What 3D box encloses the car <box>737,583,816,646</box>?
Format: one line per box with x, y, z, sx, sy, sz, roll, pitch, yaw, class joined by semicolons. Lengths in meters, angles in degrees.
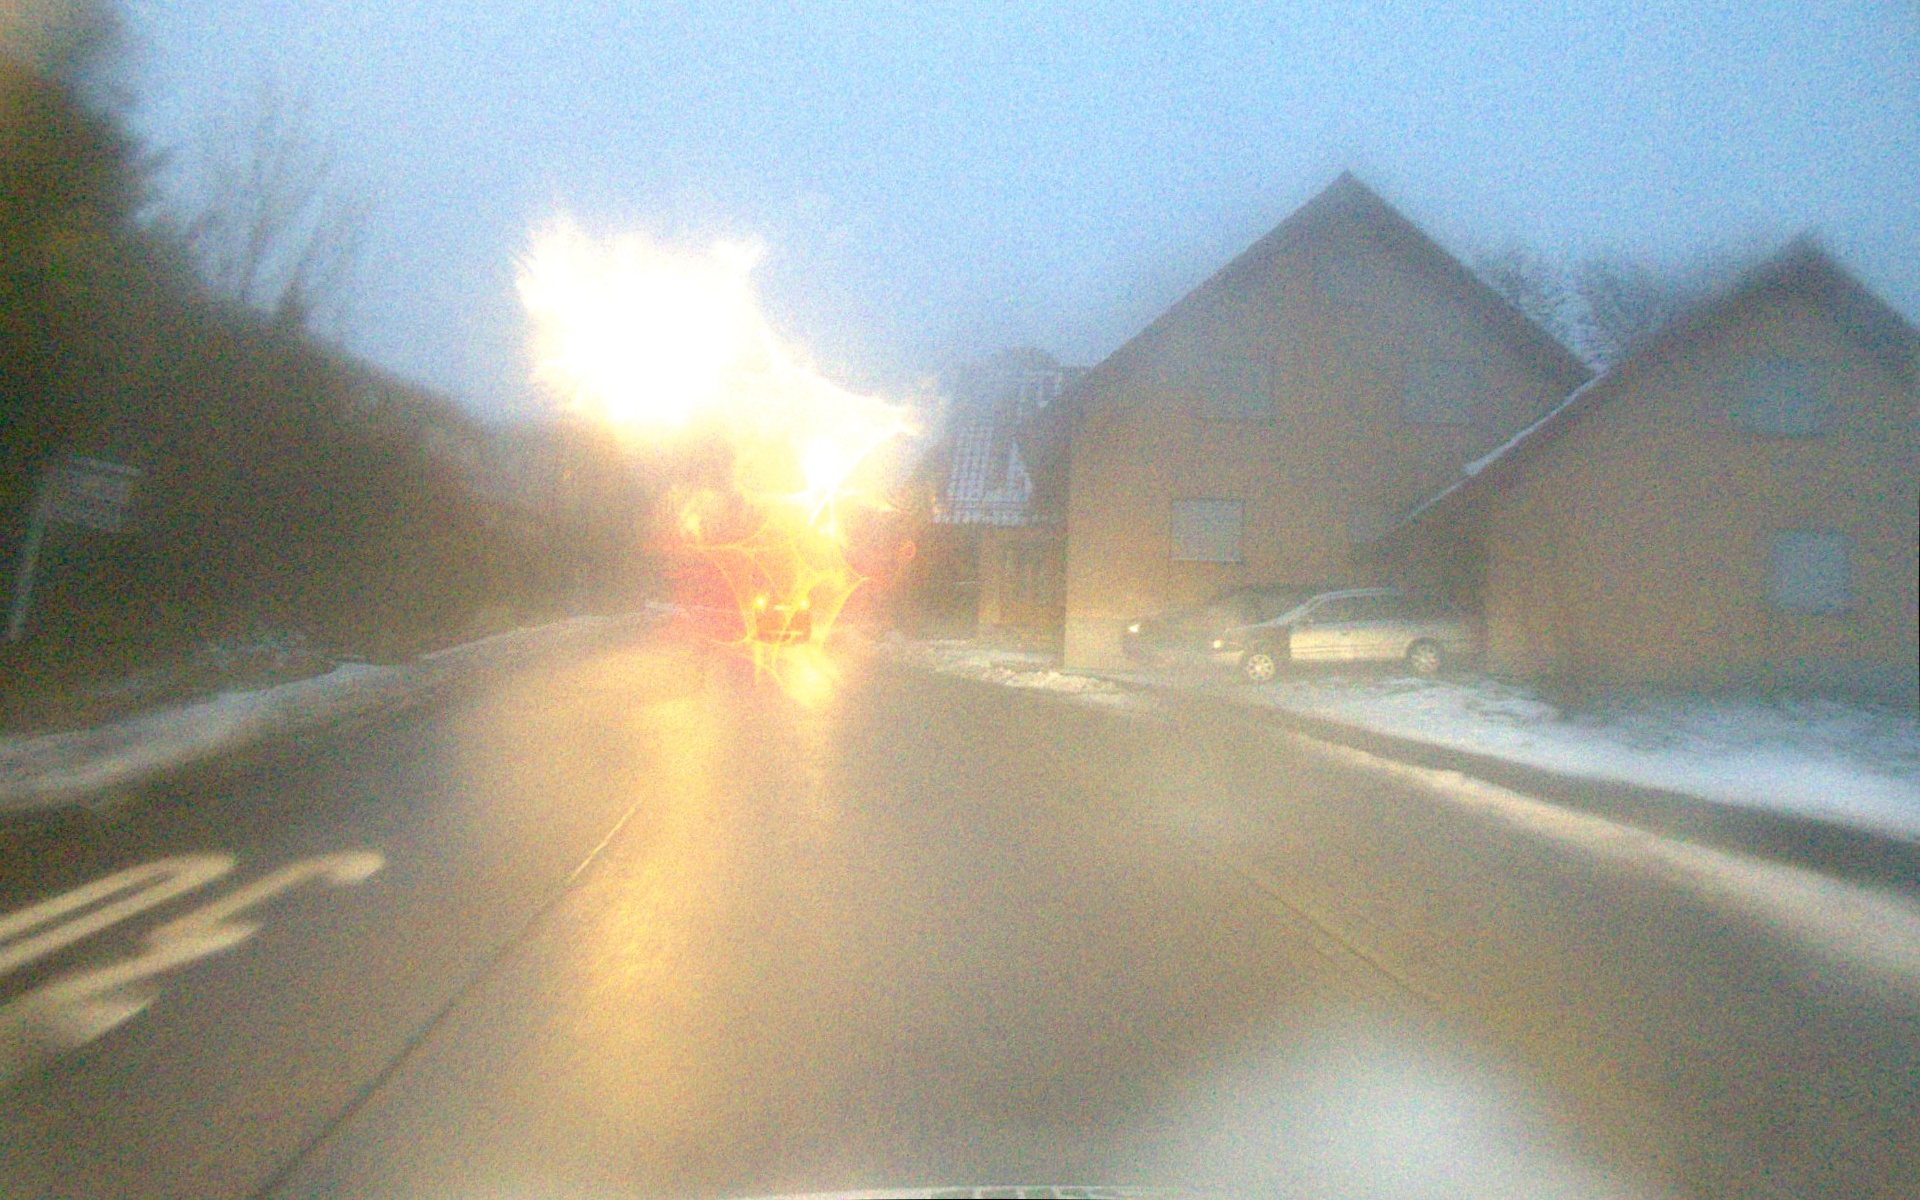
-5.660;0.471;50.637;1.959;1.767;3.865;0;-3;-13;car

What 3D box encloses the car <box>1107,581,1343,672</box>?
4.801;0.518;30.484;4.072;1.587;1.946;0;-3;2;car

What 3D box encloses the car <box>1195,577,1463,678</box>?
6.042;0.498;27.548;4.152;1.587;2.001;-1;-3;7;car
